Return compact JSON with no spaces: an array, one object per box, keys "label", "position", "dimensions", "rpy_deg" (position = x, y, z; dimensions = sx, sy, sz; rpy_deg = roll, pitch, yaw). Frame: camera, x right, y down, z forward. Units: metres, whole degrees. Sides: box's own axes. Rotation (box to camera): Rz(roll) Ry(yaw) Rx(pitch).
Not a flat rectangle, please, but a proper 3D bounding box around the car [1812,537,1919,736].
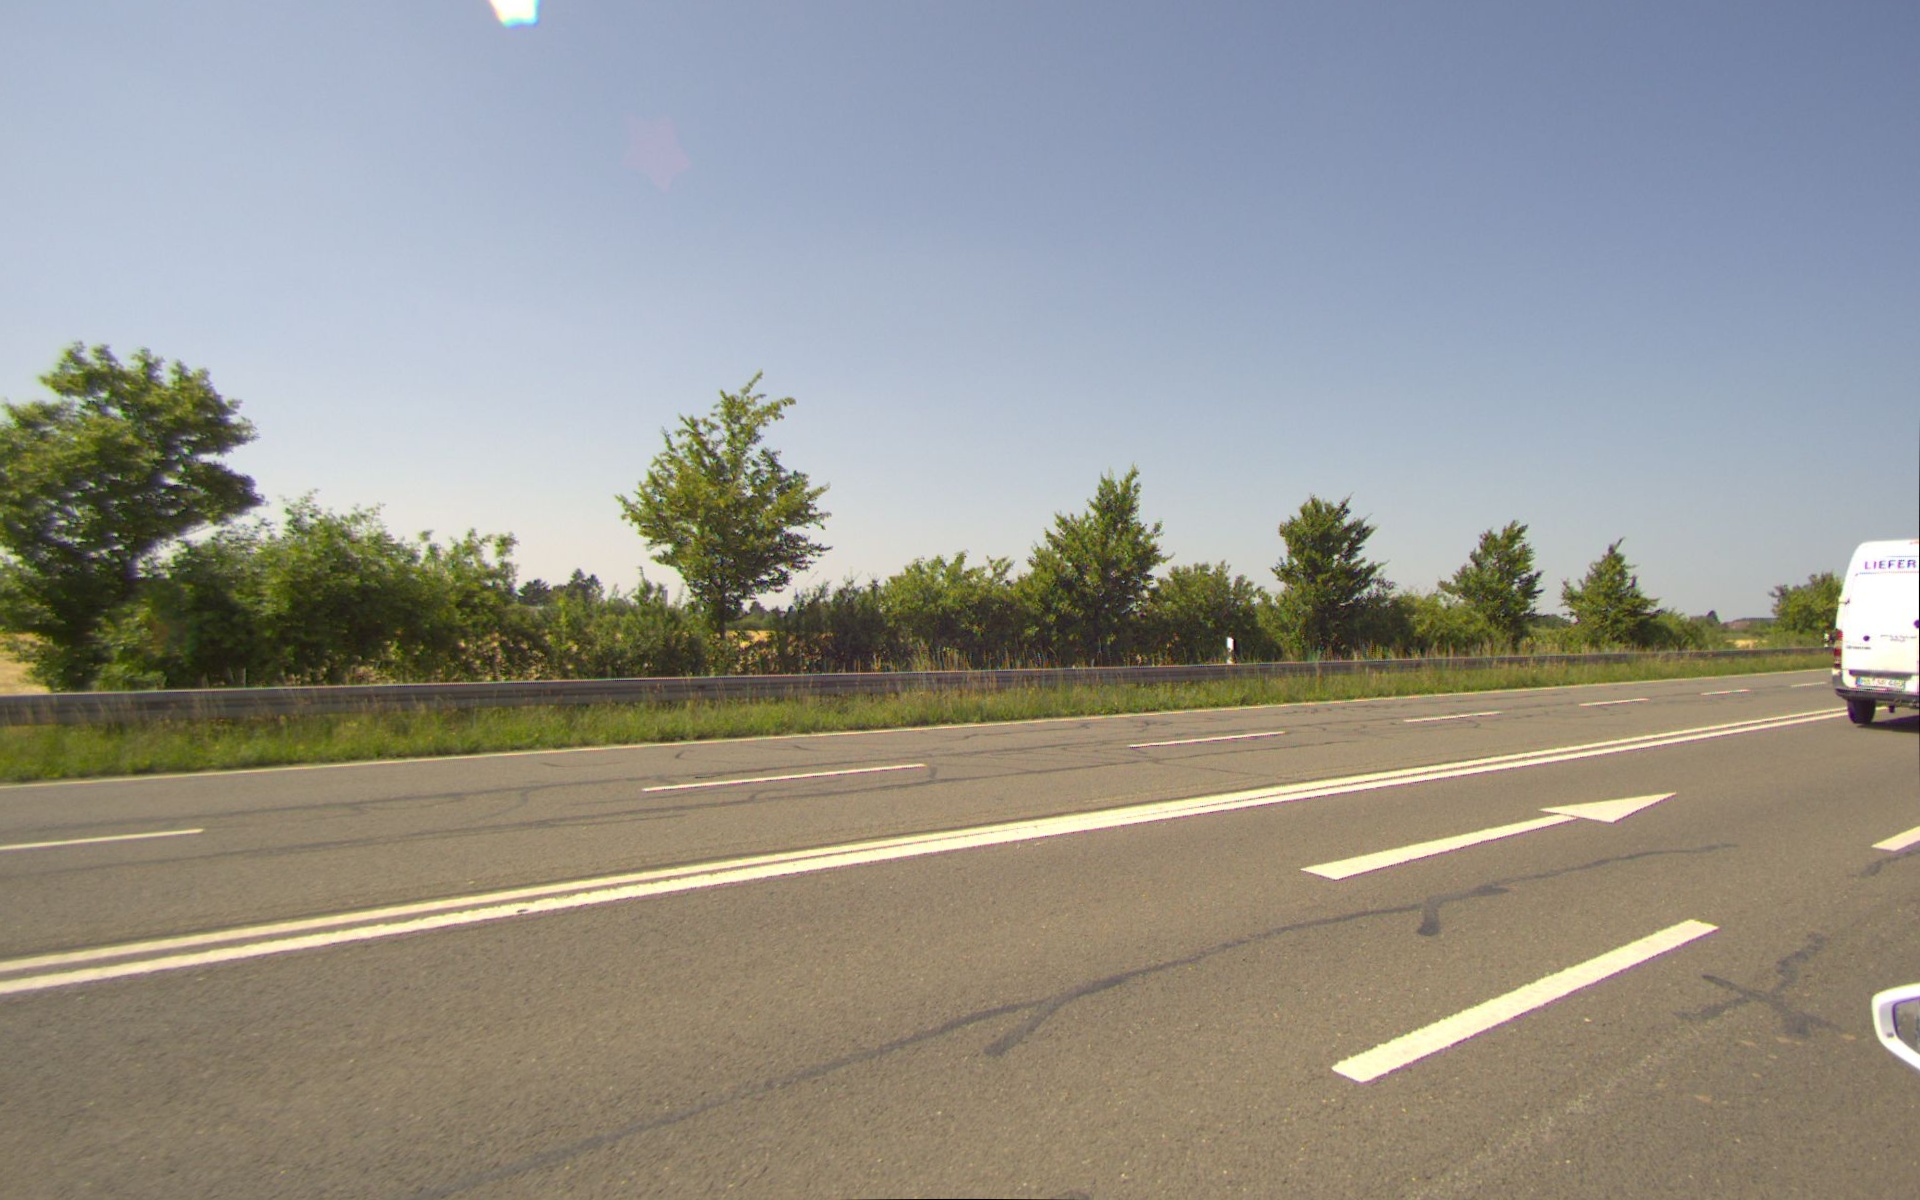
[{"label":"car","position":[15.118,0.530,15.138],"dimensions":[5.681,2.655,2.027],"rpy_deg":[1,-1,-34]}]
